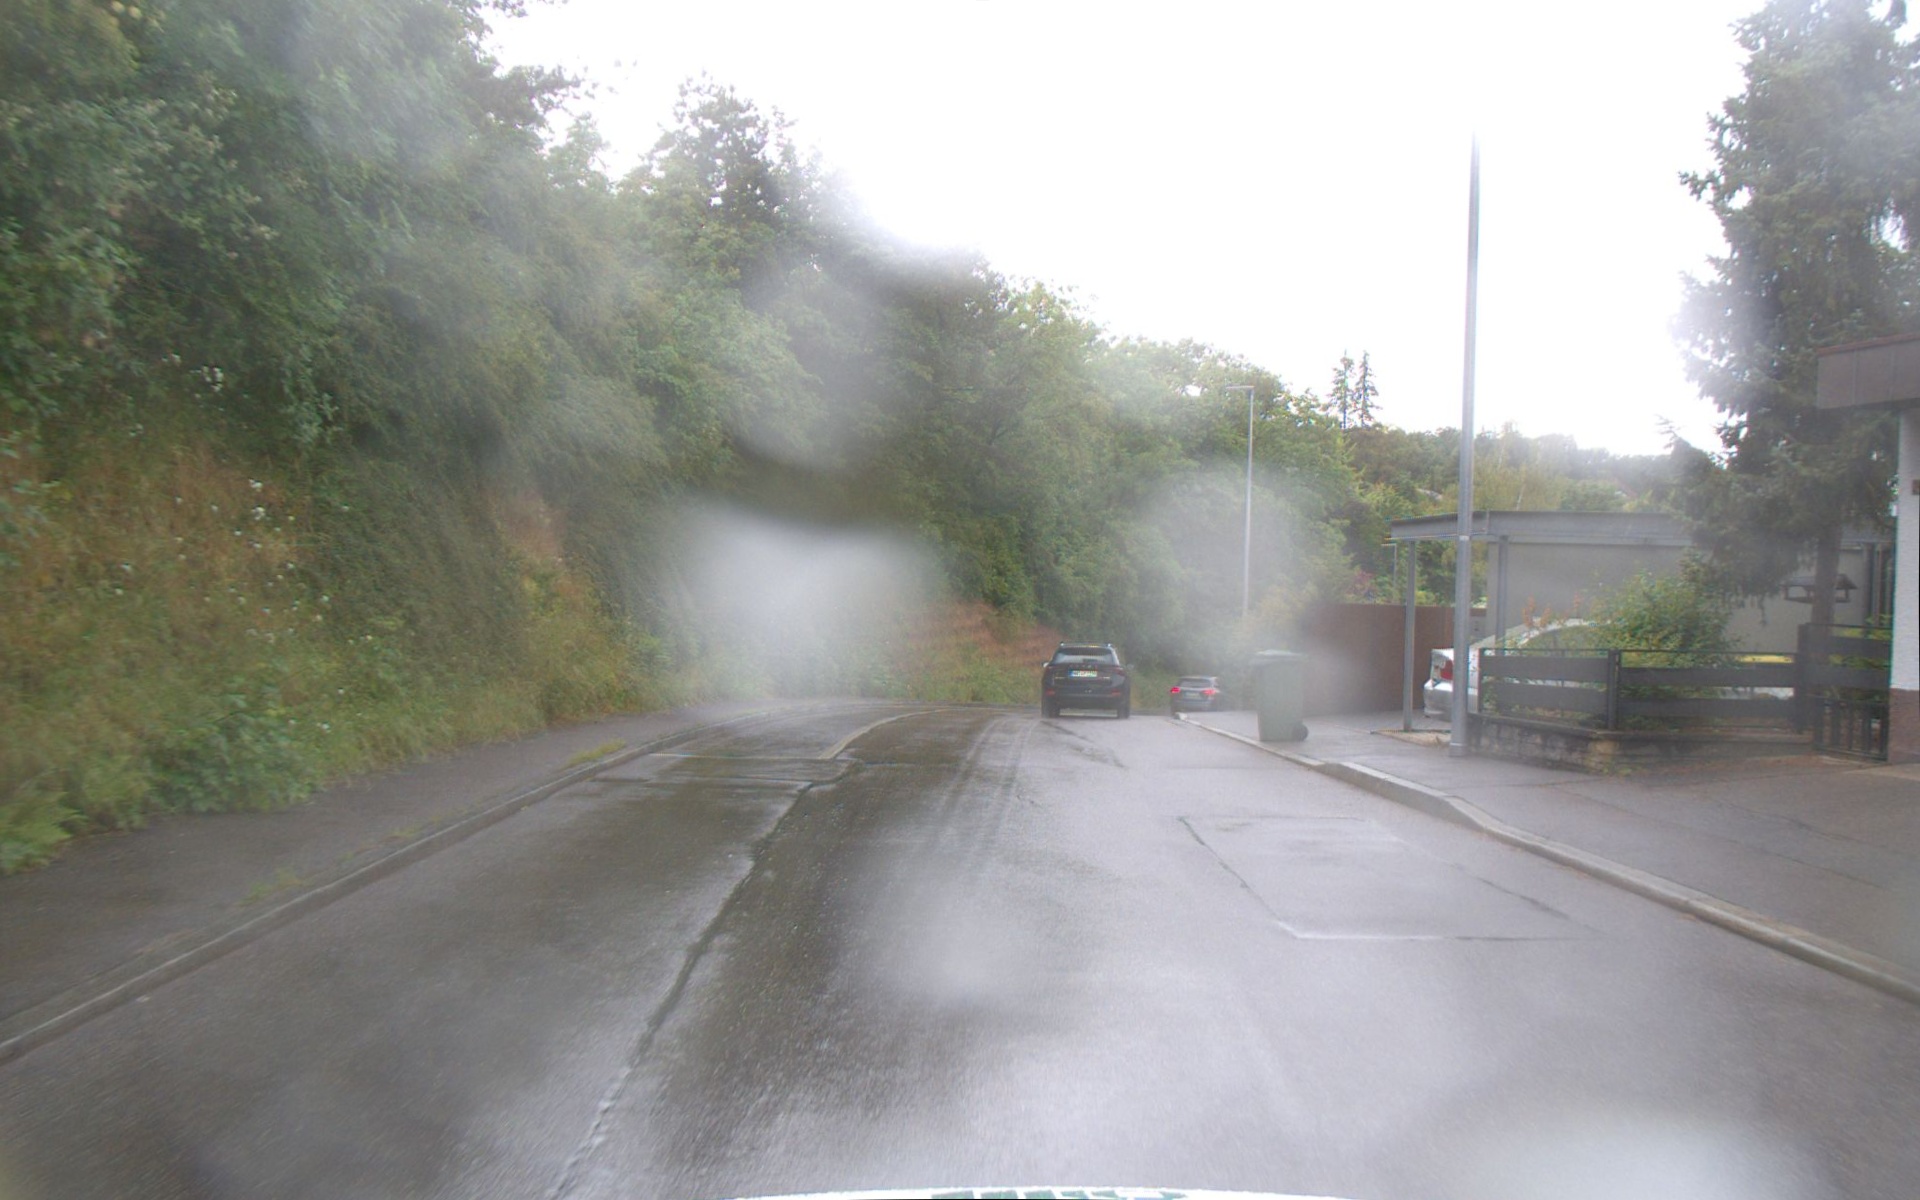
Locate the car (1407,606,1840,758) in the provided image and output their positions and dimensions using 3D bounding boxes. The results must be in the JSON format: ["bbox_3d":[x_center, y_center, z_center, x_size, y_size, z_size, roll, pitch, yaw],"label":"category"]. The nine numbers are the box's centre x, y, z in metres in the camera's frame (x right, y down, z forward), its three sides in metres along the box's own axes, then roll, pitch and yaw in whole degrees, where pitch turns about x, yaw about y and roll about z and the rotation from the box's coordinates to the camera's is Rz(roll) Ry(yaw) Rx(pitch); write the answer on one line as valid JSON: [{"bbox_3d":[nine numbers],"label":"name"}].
[{"bbox_3d":[7.173,0.878,18.312,4.126,1.440,1.942,2,-2,11],"label":"car"}]

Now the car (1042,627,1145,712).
[{"bbox_3d":[2.657,1.448,33.735,1.830,1.539,4.092,2,-3,2],"label":"car"}]

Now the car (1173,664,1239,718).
[{"bbox_3d":[9.183,3.345,61.435,1.951,1.633,4.412,1,1,15],"label":"car"}]

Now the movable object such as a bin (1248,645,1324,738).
[{"bbox_3d":[4.107,1.144,20.883,0.773,1.115,0.675,-3,-2,1],"label":"movable object such as a bin"}]

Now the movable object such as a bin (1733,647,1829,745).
[{"bbox_3d":[9.554,1.102,19.275,0.933,1.076,0.572,0,1,19],"label":"movable object such as a bin"}]
